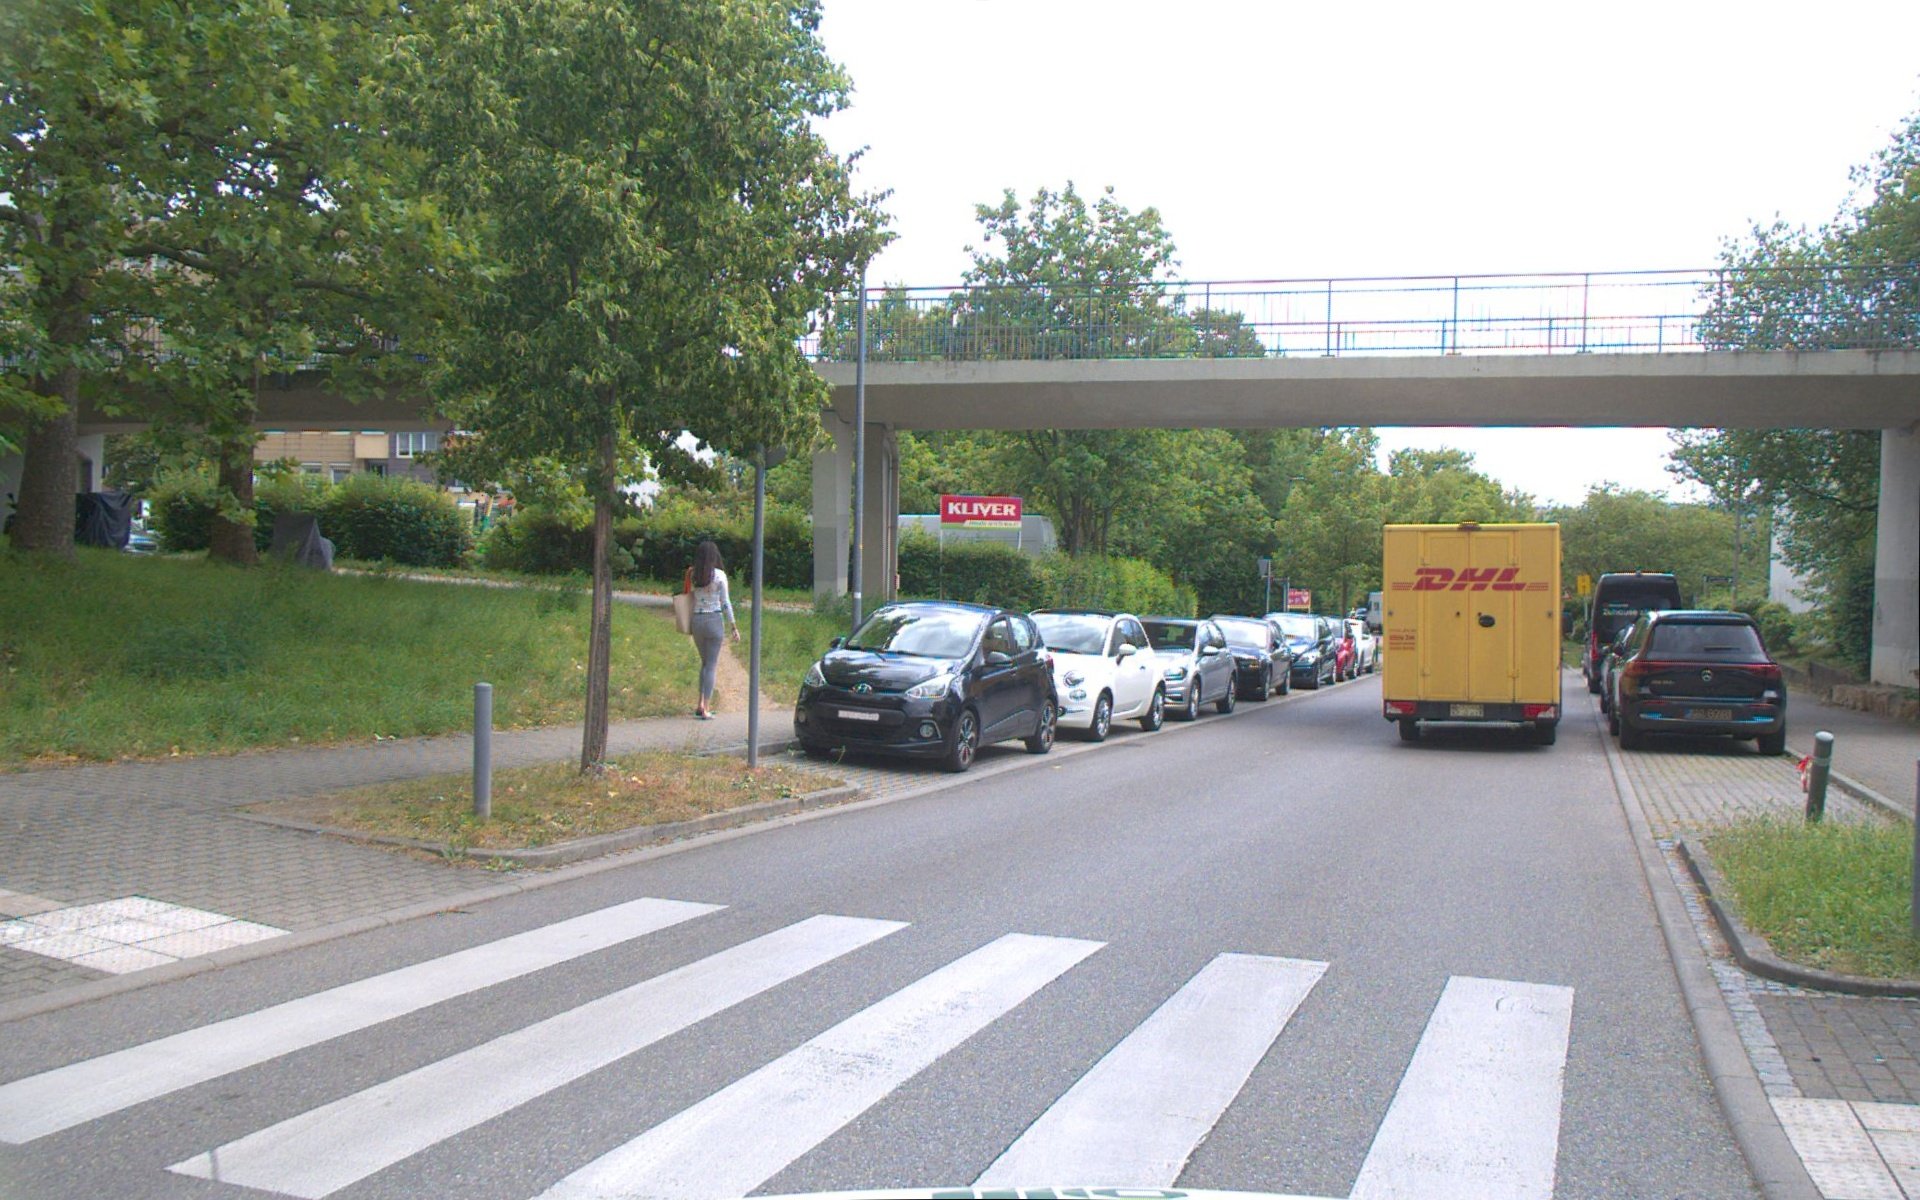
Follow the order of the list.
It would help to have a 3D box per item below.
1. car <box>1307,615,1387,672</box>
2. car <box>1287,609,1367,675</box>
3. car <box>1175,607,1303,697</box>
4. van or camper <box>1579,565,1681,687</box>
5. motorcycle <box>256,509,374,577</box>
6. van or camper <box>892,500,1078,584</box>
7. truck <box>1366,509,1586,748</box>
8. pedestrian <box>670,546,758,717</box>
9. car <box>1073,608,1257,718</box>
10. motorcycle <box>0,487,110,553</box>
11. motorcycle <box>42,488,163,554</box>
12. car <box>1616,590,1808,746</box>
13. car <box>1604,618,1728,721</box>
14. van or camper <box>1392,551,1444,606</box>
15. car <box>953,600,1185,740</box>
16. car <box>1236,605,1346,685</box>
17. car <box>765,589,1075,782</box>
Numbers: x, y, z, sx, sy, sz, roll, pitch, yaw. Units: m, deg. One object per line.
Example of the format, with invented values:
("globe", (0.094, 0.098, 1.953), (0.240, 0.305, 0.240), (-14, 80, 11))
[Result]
("car", (10.859, 1.175, 46.229), (1.640, 1.461, 3.970), (2, 0, 21))
("car", (9.241, 1.023, 41.499), (1.497, 1.532, 2.712), (2, 0, 22))
("car", (5.474, 0.948, 32.034), (1.845, 1.535, 4.455), (2, 0, 17))
("van or camper", (15.206, 0.599, 37.758), (1.952, 2.567, 5.471), (-1, -1, 20))
("motorcycle", (-12.859, -1.132, 33.024), (0.869, 1.292, 2.037), (3, 2, 38))
("van or camper", (0.705, -1.602, 45.752), (4.752, 2.122, 2.002), (2, 2, 16))
("truck", (7.252, 0.321, 22.824), (2.415, 2.749, 6.825), (2, 0, 20))
("pedestrian", (-2.599, 0.322, 17.500), (0.721, 1.751, 0.660), (2, 1, 7))
("car", (3.244, 0.903, 25.480), (1.846, 1.452, 4.000), (2, 1, 21))
("motorcycle", (-18.892, -1.650, 34.325), (0.865, 1.292, 2.318), (2, 2, 16))
("motorcycle", (-17.773, -1.617, 34.355), (0.865, 1.292, 2.318), (2, 2, 16))
("car", (9.308, 0.839, 20.762), (1.776, 1.708, 4.371), (1, -2, 19))
("car", (11.609, 1.086, 27.396), (1.664, 1.523, 4.119), (1, 0, 20))
("van or camper", (30.127, -1.475, 109.021), (2.275, 2.918, 5.269), (4, 7, 6))
("car", (1.454, 0.847, 20.609), (1.846, 1.485, 3.546), (3, -1, 21))
("car", (7.577, 0.986, 37.611), (1.846, 1.586, 3.839), (4, 1, 19))
("car", (-0.244, 0.718, 16.331), (1.749, 1.493, 4.002), (4, 2, 18))
